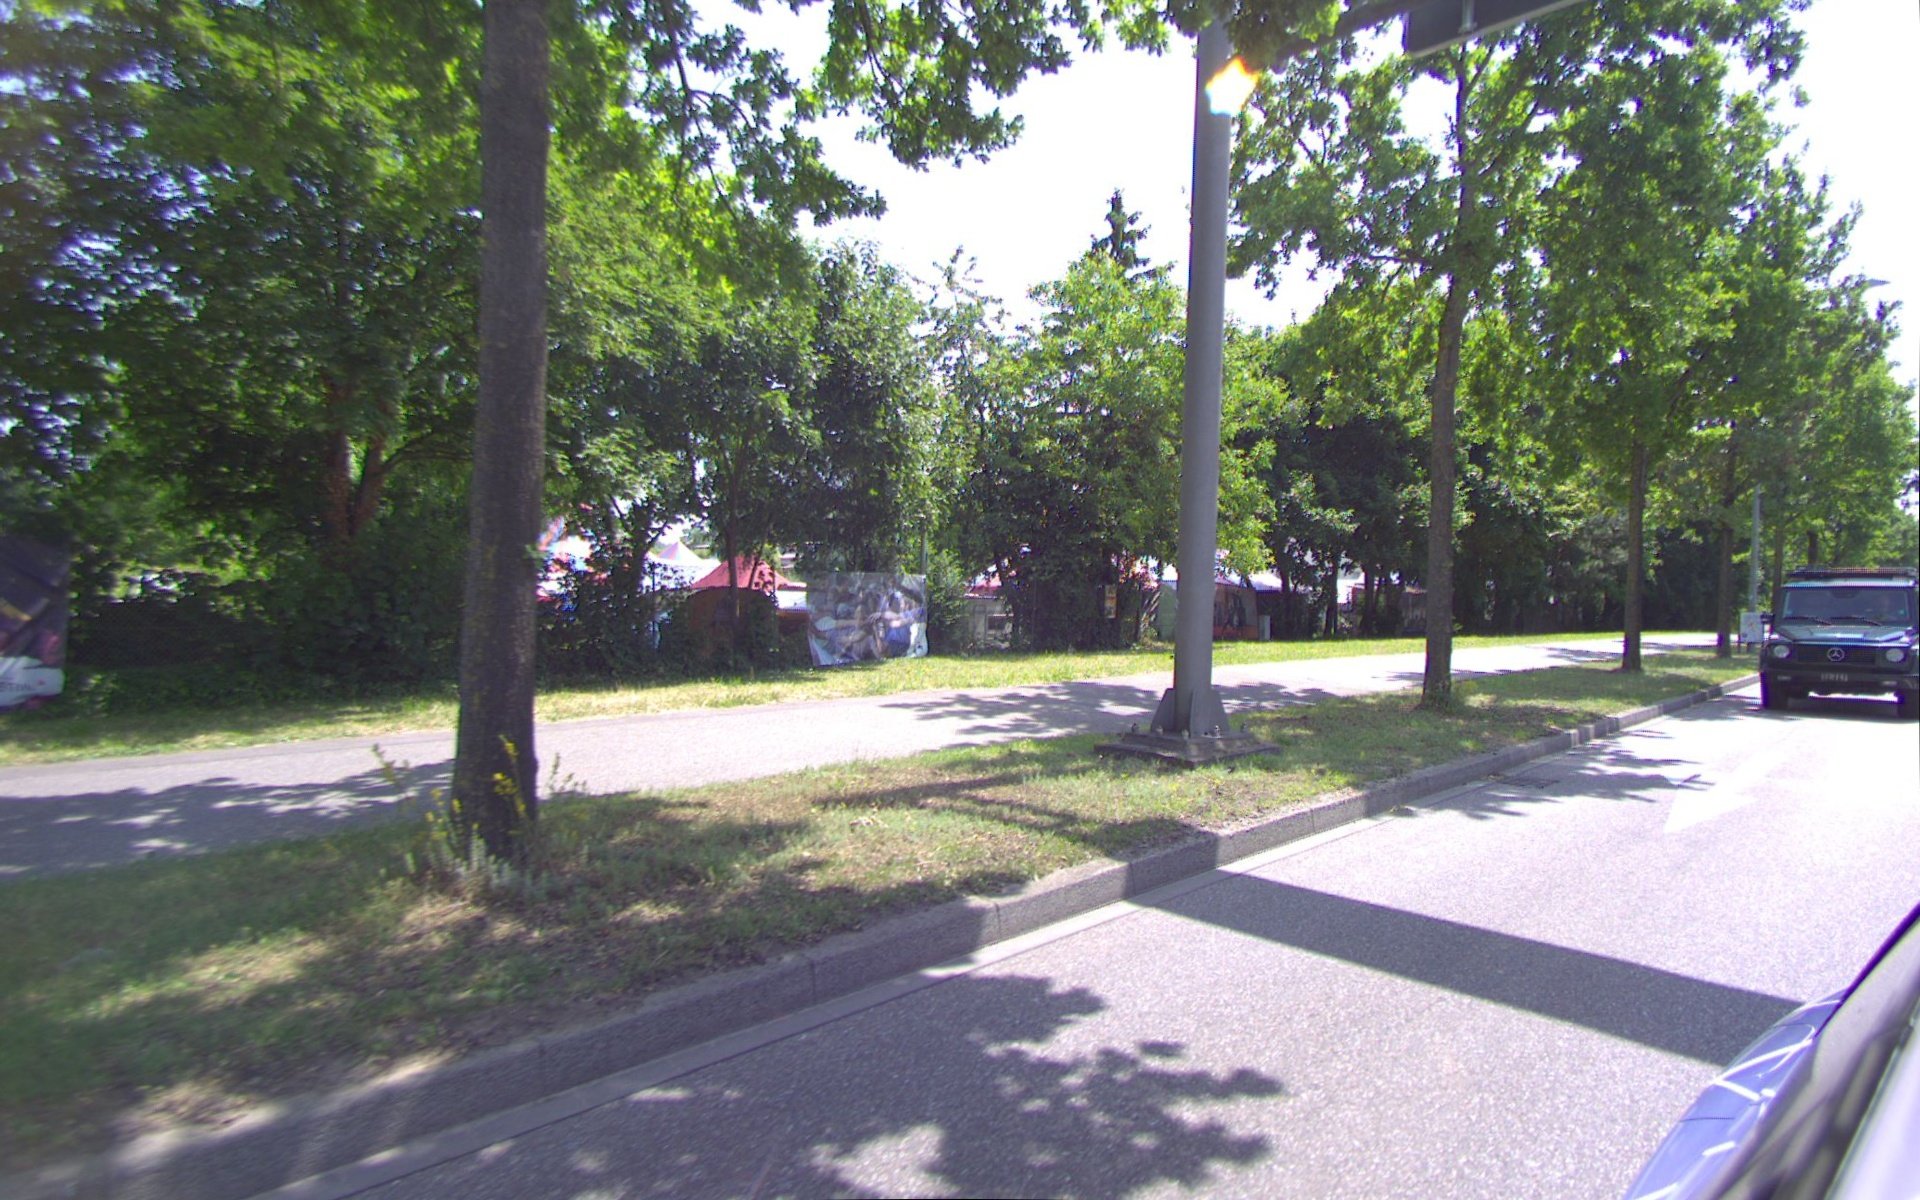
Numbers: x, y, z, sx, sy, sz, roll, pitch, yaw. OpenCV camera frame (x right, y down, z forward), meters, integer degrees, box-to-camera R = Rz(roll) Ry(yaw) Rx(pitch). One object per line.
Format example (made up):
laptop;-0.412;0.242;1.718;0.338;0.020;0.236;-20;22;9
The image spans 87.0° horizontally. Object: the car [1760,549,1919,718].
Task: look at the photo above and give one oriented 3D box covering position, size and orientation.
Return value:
car;13.527;0.435;15.200;4.483;2.181;1.838;1;0;-45
